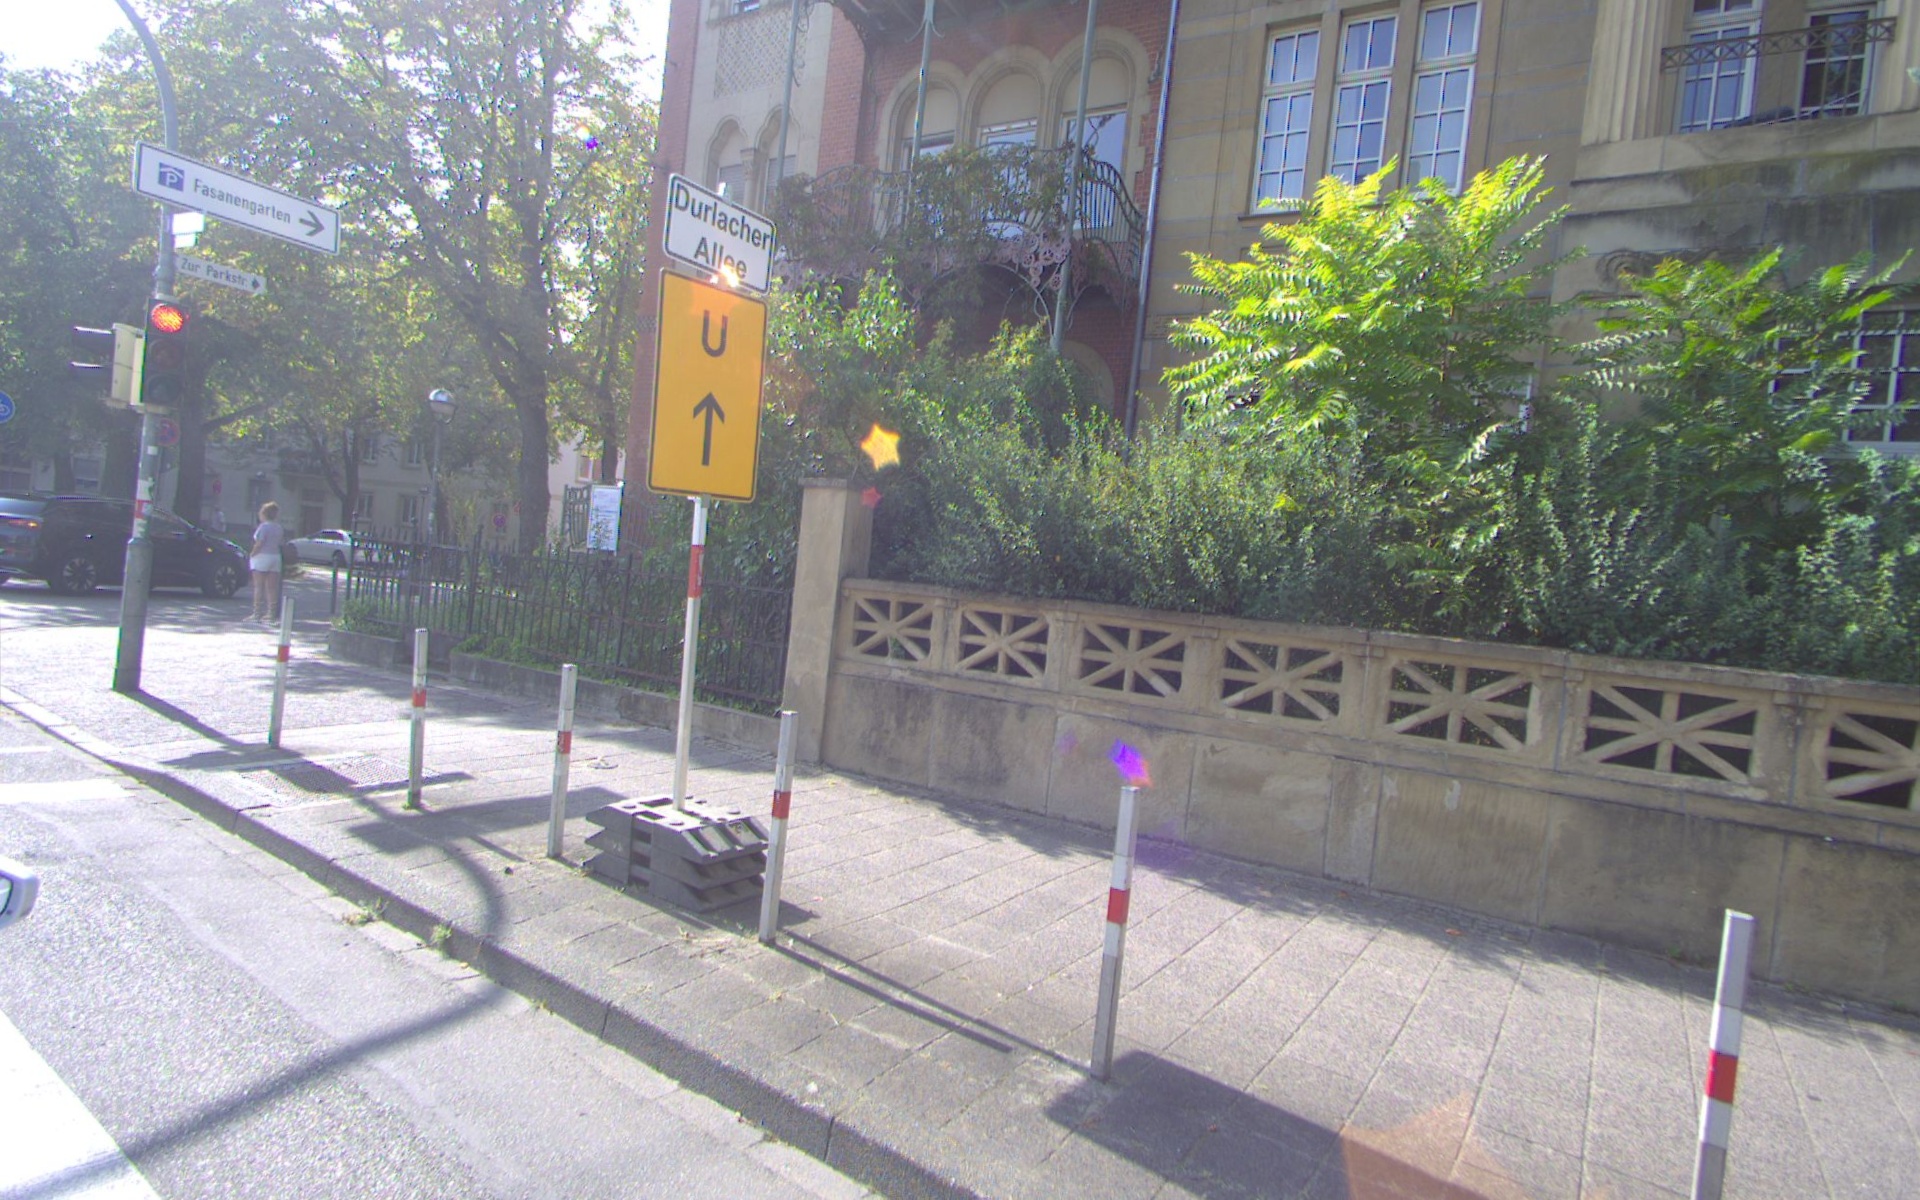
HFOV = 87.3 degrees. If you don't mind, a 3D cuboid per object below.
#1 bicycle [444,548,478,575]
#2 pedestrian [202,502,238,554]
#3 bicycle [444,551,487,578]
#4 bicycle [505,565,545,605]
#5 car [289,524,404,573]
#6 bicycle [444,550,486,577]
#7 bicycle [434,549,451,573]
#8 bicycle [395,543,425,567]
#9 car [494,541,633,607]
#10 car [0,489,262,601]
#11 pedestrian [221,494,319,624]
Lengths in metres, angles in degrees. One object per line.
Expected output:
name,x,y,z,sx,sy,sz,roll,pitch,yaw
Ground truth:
bicycle,-22.378,-1.722,45.121,0.417,1.052,1.556,6,1,12
pedestrian,-26.708,-2.605,36.313,0.887,1.762,0.767,5,1,-40
bicycle,-21.398,-1.553,43.564,1.546,0.990,0.420,6,1,-44
bicycle,-11.479,-0.397,26.570,0.418,0.990,1.767,6,1,-8
car,-24.512,-2.053,40.181,4.070,1.447,1.757,7,1,22
bicycle,-21.565,-1.584,43.859,1.546,0.990,0.420,6,1,-44
bicycle,-22.765,-1.703,44.266,0.420,0.990,1.548,6,1,-21
bicycle,-26.117,-2.136,47.750,1.529,0.990,0.425,7,1,28
car,-13.473,-0.816,34.538,1.836,1.482,4.791,14,0,13
car,-14.139,-0.855,16.810,1.581,1.534,4.228,7,1,6
pedestrian,-9.985,-0.578,14.569,0.757,1.753,0.752,6,1,22
